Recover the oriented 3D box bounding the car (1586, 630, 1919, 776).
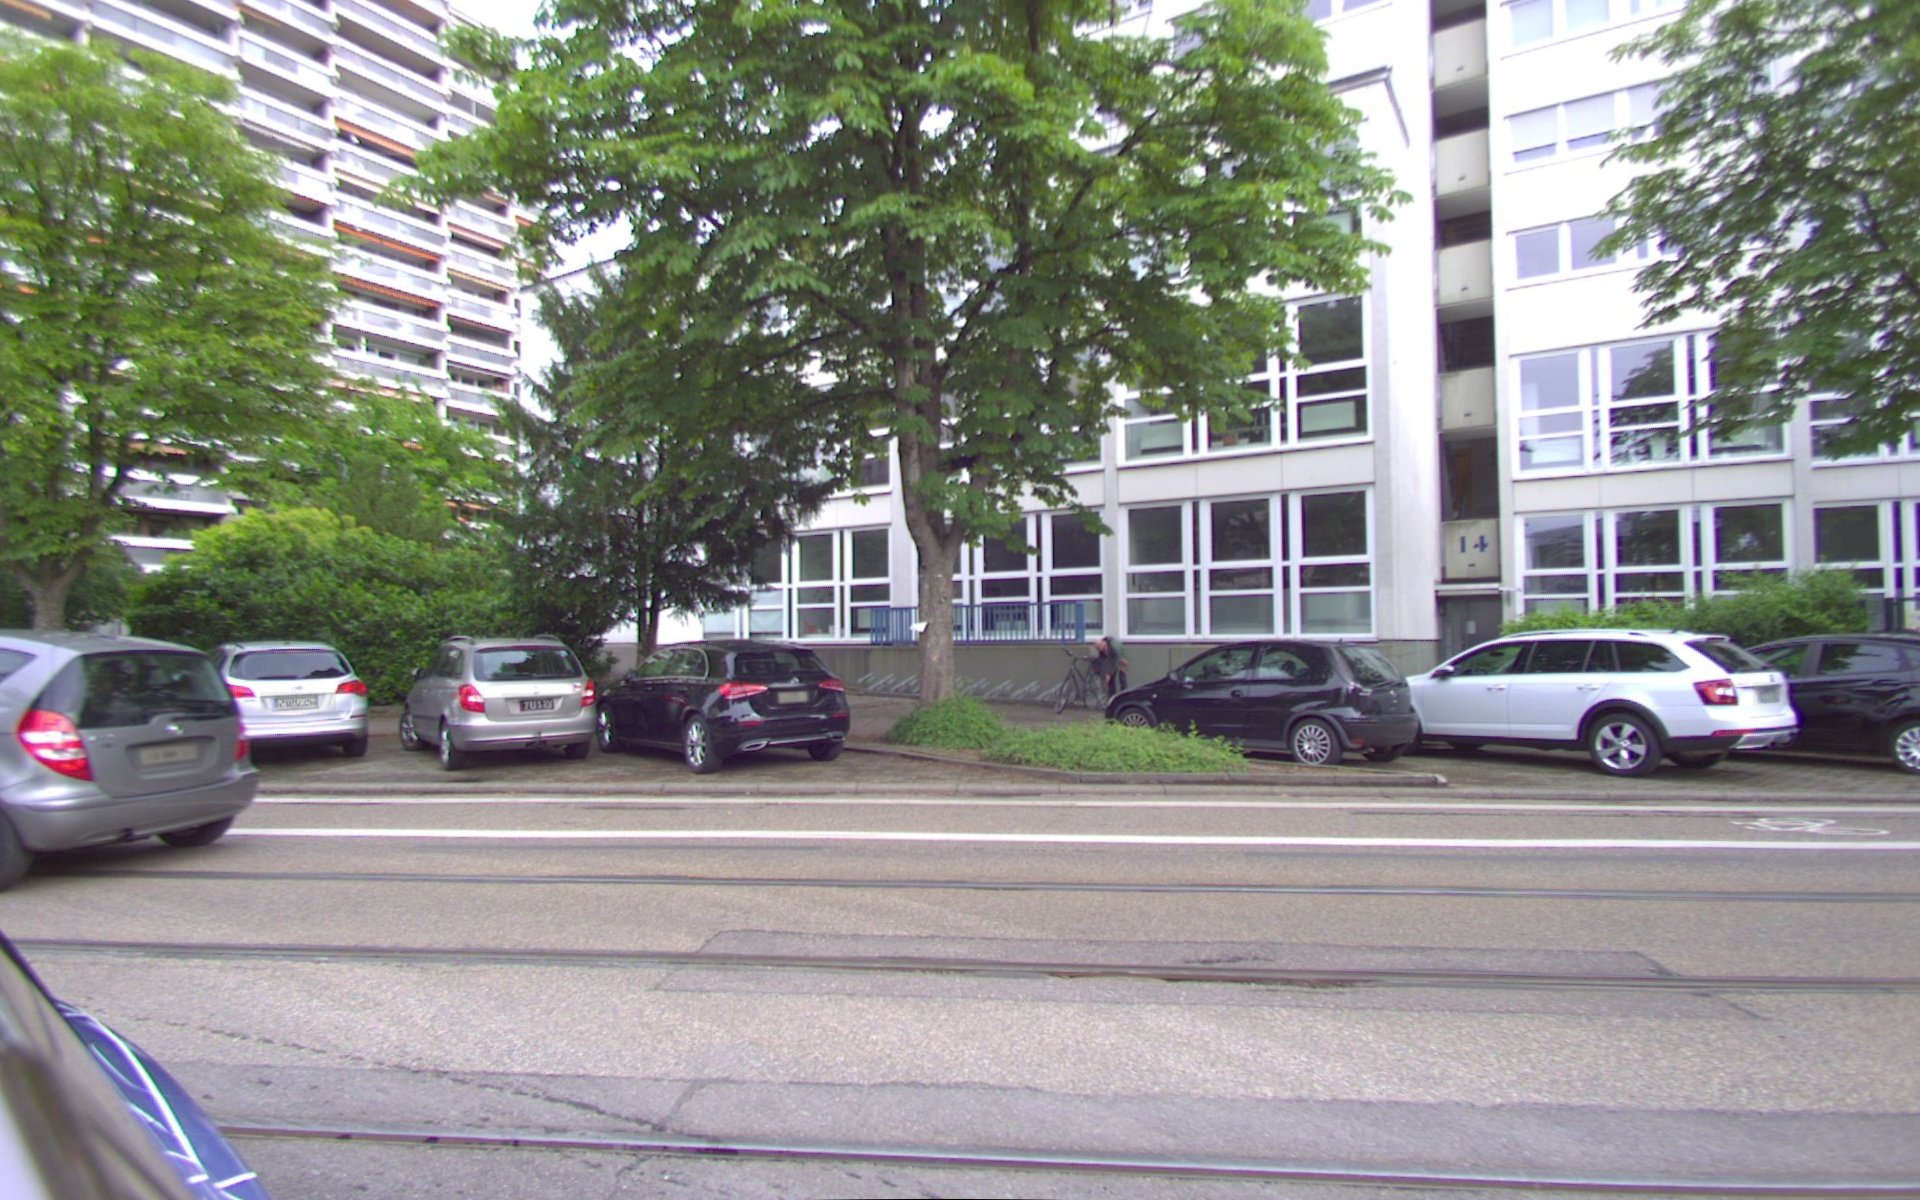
[{"bbox_3d":[9.706,1.072,11.519,1.671,1.416,4.040,0,-1,-32],"label":"car"}]

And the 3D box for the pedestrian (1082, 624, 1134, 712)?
[{"bbox_3d":[2.844,1.284,19.382,0.753,1.624,0.726,0,-1,32],"label":"pedestrian"}]

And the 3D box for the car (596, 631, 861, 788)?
[{"bbox_3d":[-2.902,1.163,12.152,1.672,1.535,3.713,0,-1,-38],"label":"car"}]

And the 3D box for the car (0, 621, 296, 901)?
[{"bbox_3d":[-6.857,0.958,6.712,3.706,1.542,1.904,-1,-3,4],"label":"car"}]

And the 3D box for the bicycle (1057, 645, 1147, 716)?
[{"bbox_3d":[2.630,1.483,18.825,1.587,1.278,0.402,-2,-3,26],"label":"bicycle"}]

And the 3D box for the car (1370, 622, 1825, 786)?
[{"bbox_3d":[6.969,1.020,11.528,1.671,1.495,4.040,0,-1,-32],"label":"car"}]

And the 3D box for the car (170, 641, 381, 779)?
[{"bbox_3d":[-9.201,1.302,13.440,1.776,1.476,4.438,1,-2,-41],"label":"car"}]

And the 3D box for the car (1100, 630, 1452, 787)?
[{"bbox_3d":[3.617,1.144,12.104,1.672,1.535,3.713,0,-1,-38],"label":"car"}]

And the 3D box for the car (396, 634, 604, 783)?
[{"bbox_3d":[-5.841,1.208,12.636,1.547,1.535,3.658,0,-1,-38],"label":"car"}]
